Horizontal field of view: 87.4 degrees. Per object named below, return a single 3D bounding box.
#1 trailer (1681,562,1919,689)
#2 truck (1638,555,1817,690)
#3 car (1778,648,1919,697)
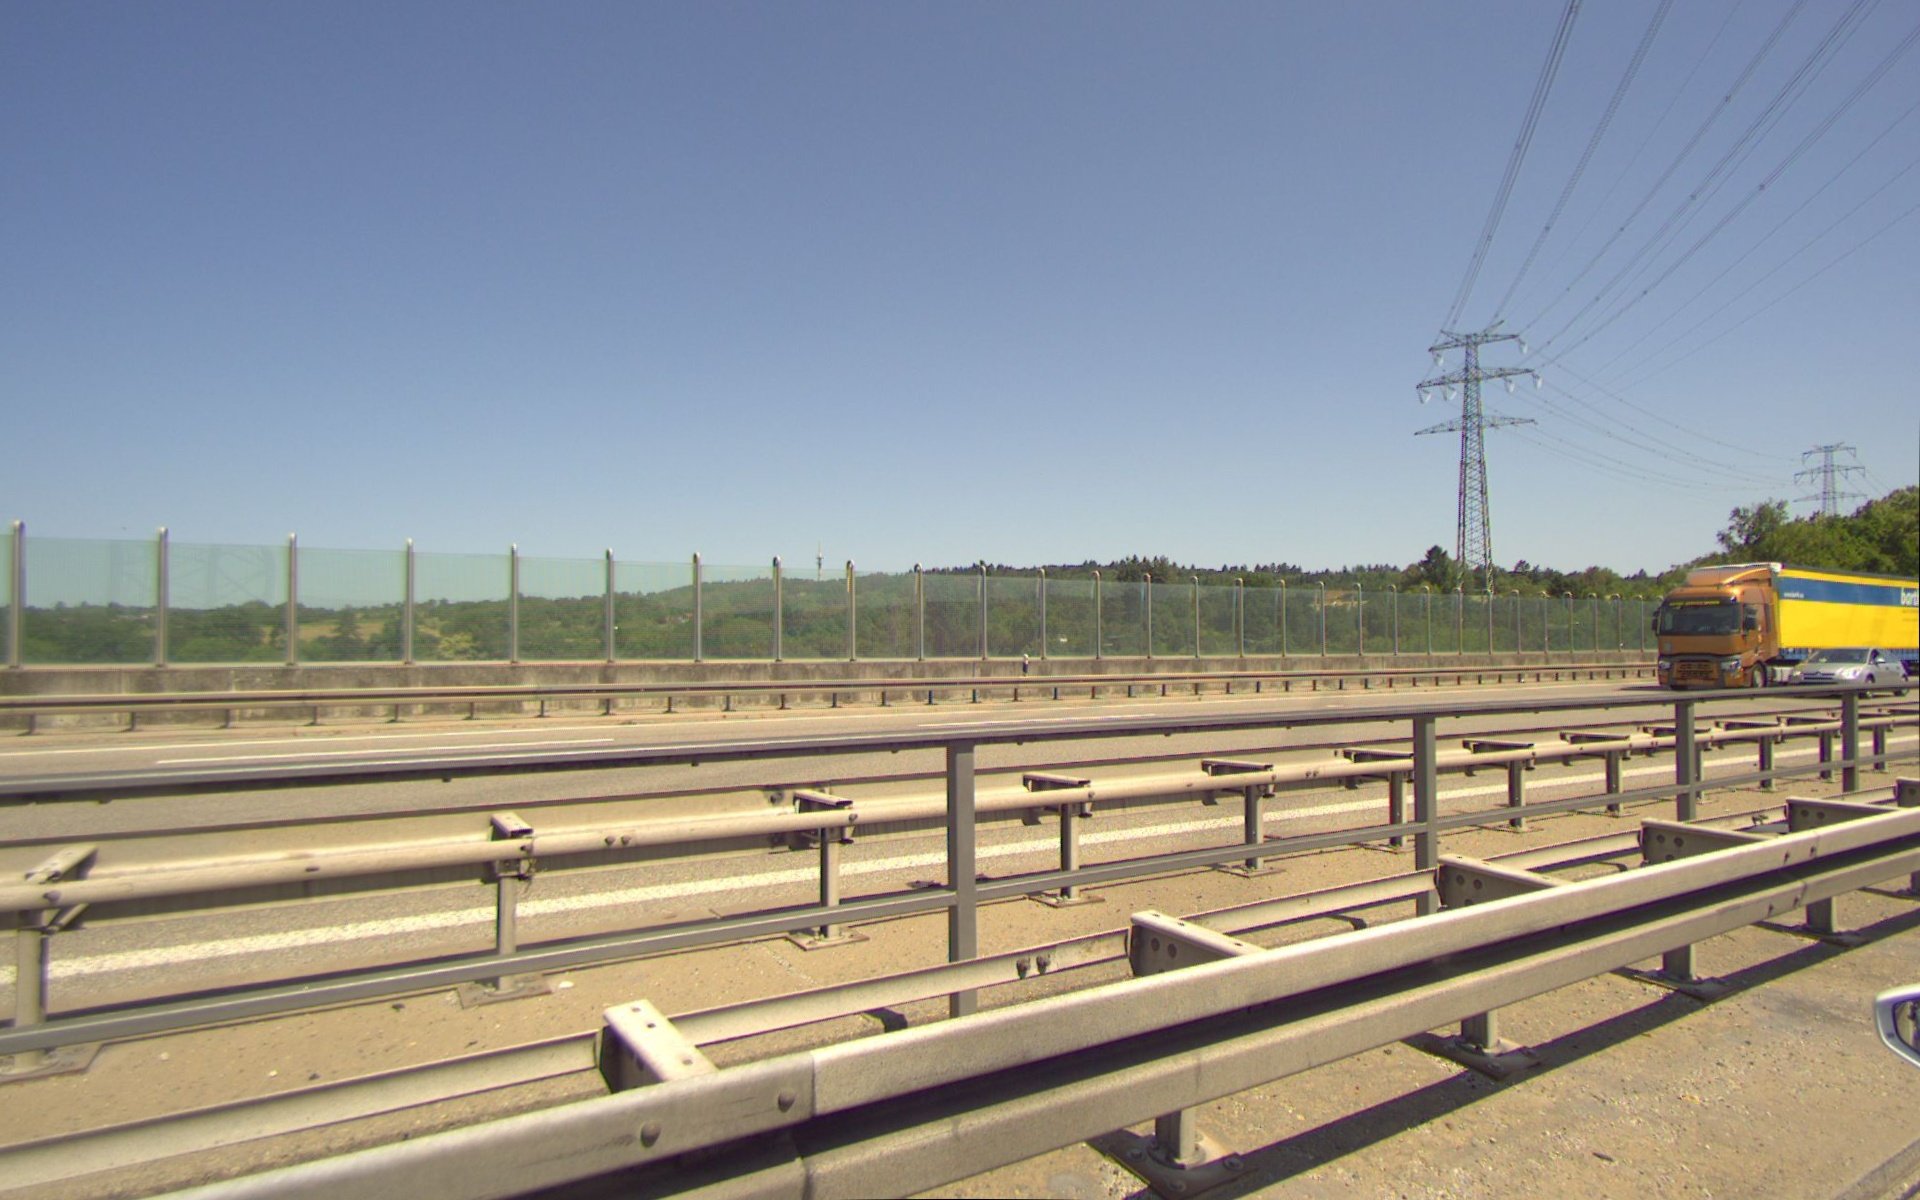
[{"bbox_3d":[32.016,1.057,37.516,13.845,4.168,2.617,2,-2,-29],"label":"trailer"},{"bbox_3d":[26.236,0.822,34.306,6.212,4.240,2.660,2,-2,-30],"label":"truck"},{"bbox_3d":[25.382,2.065,28.690,3.961,1.320,1.683,2,-4,-27],"label":"car"}]
